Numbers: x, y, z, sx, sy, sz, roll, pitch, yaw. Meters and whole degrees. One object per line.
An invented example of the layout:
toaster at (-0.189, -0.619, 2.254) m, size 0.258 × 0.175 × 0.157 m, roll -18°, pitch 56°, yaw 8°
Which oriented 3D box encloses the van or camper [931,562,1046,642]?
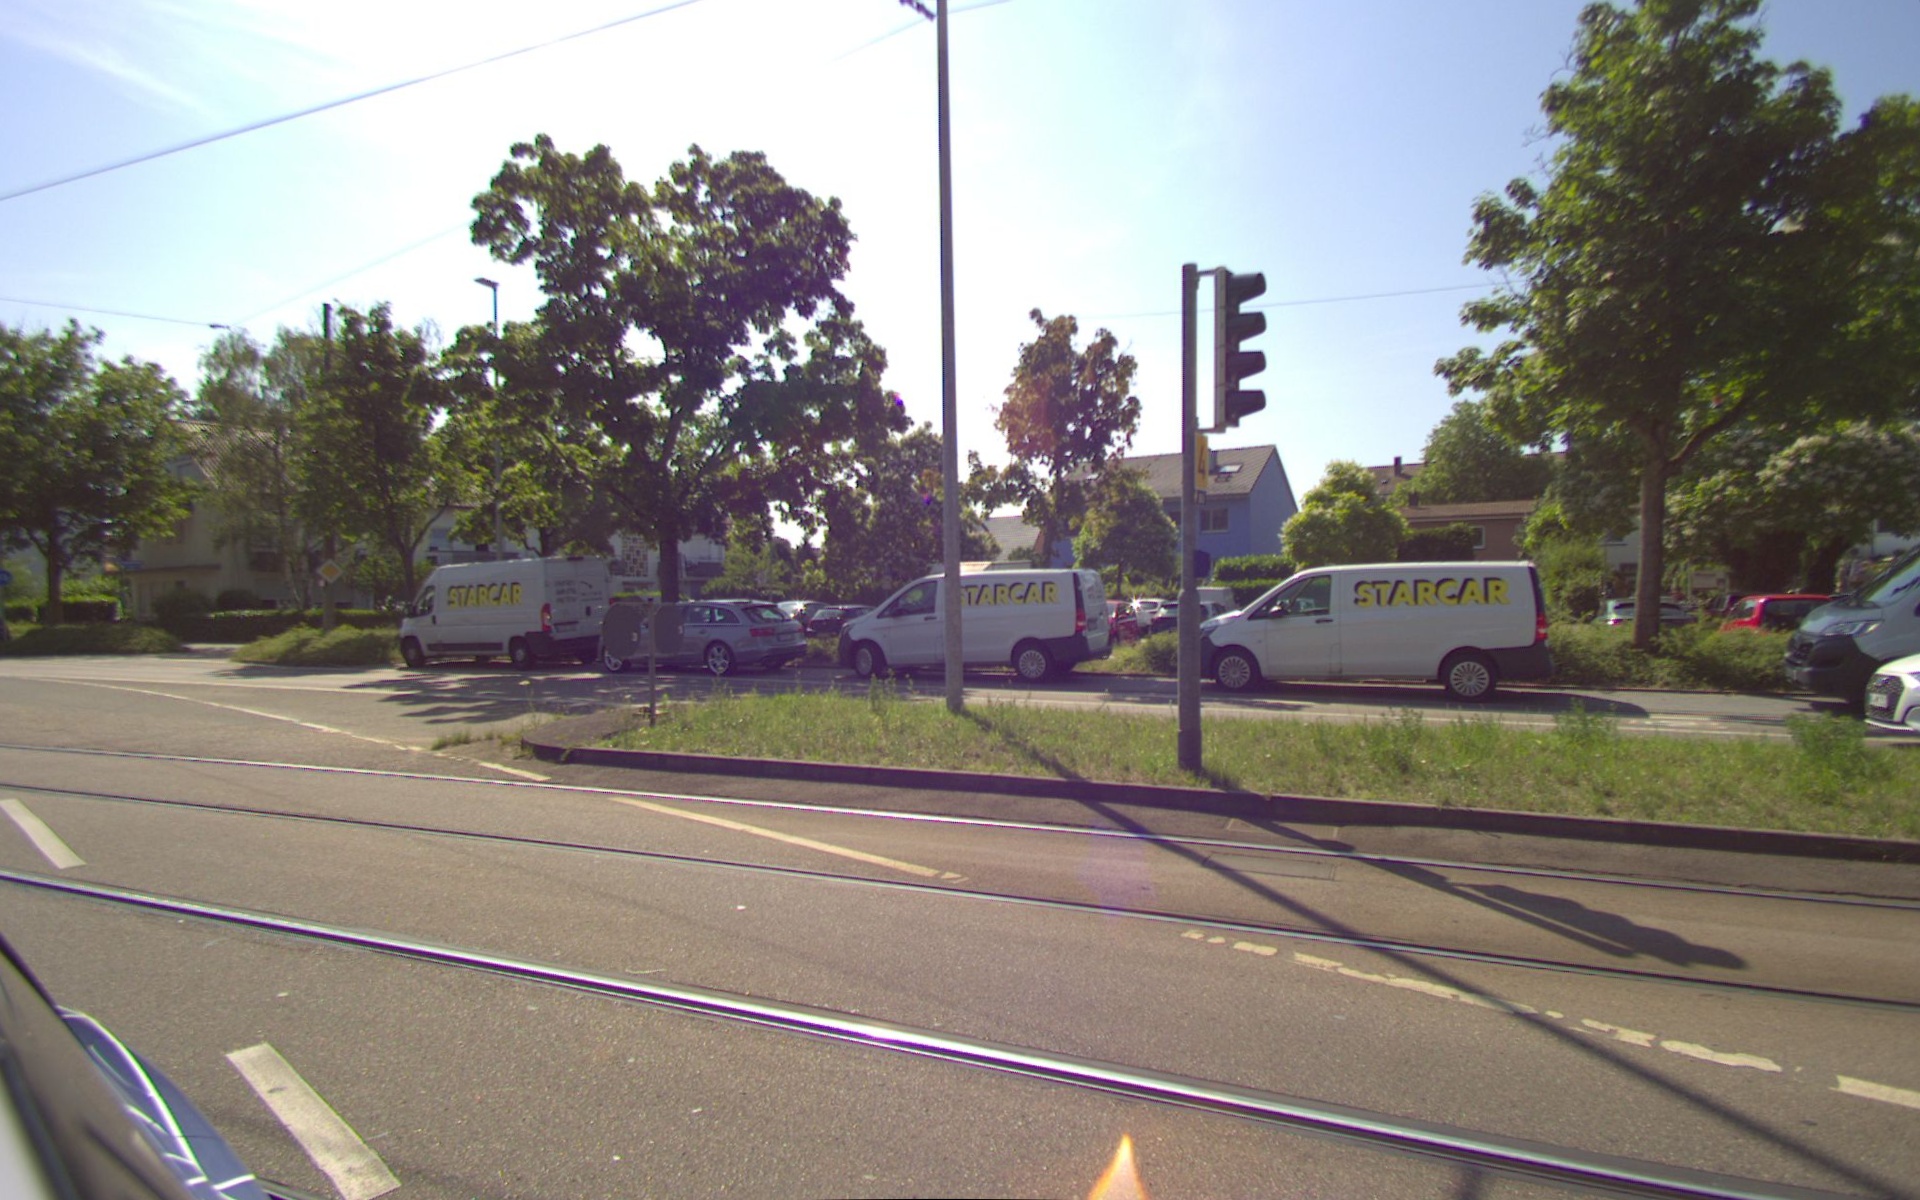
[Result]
van or camper at (1.414, 0.099, 45.235) m, size 2.567 × 3.269 × 6.913 m, roll -1°, pitch -1°, yaw 25°

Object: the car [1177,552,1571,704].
car at (6.120, 0.362, 15.264) m, size 5.162 × 1.955 × 2.182 m, roll -1°, pitch 2°, yaw 29°

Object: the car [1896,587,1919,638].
car at (29.770, 0.358, 29.952) m, size 1.774 × 1.556 × 3.968 m, roll -1°, pitch -1°, yaw 24°

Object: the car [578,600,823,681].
car at (-5.406, 0.793, 20.957) m, size 4.862 × 1.465 × 1.920 m, roll -1°, pitch 1°, yaw 28°

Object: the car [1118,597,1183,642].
car at (7.777, 0.762, 41.004) m, size 1.725 × 1.741 × 3.968 m, roll -1°, pitch -1°, yaw 24°

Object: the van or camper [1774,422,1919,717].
van or camper at (13.346, -0.418, 10.924) m, size 6.742 × 3.265 × 2.182 m, roll -1°, pitch 1°, yaw 29°

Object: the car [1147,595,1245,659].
car at (6.339, 0.674, 26.876) m, size 1.655 × 1.556 × 3.964 m, roll -1°, pitch -1°, yaw 27°

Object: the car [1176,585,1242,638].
car at (9.544, 0.437, 38.672) m, size 1.774 × 1.905 × 3.968 m, roll -1°, pitch -1°, yaw 24°

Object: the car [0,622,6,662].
car at (-37.291, 1.594, 37.544) m, size 4.065 × 1.461 × 1.605 m, roll -1°, pitch -1°, yaw 29°

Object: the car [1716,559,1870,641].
car at (17.474, 0.021, 21.435) m, size 1.655 × 1.556 × 3.964 m, roll -1°, pitch -1°, yaw 27°

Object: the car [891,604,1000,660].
car at (-0.362, 0.917, 30.691) m, size 1.655 × 1.556 × 3.964 m, roll -1°, pitch -1°, yaw 27°

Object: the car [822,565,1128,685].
car at (0.270, 0.409, 18.524) m, size 5.152 × 1.955 × 2.186 m, roll -1°, pitch 1°, yaw 24°

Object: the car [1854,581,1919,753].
car at (10.210, 0.533, 8.031) m, size 4.315 × 1.433 × 1.780 m, roll -1°, pitch -1°, yaw 28°

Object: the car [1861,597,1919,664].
car at (19.482, 0.575, 19.894) m, size 1.655 × 1.280 × 3.964 m, roll -1°, pitch -1°, yaw 27°

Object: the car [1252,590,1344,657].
car at (8.628, 0.565, 25.614) m, size 1.655 × 1.556 × 3.964 m, roll -1°, pitch -1°, yaw 27°

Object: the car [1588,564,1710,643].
car at (14.865, 0.092, 22.037) m, size 1.655 × 1.556 × 3.964 m, roll -1°, pitch -1°, yaw 27°

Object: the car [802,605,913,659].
car at (-3.150, 0.958, 31.866) m, size 1.654 × 1.556 × 3.965 m, roll -1°, pitch -1°, yaw 25°

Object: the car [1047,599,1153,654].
car at (3.943, 0.688, 27.951) m, size 1.723 × 1.420 × 3.964 m, roll -1°, pitch -1°, yaw 27°

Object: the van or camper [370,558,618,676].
van or camper at (-11.222, 0.422, 24.250) m, size 6.120 × 2.534 × 2.242 m, roll -1°, pitch -1°, yaw 29°
